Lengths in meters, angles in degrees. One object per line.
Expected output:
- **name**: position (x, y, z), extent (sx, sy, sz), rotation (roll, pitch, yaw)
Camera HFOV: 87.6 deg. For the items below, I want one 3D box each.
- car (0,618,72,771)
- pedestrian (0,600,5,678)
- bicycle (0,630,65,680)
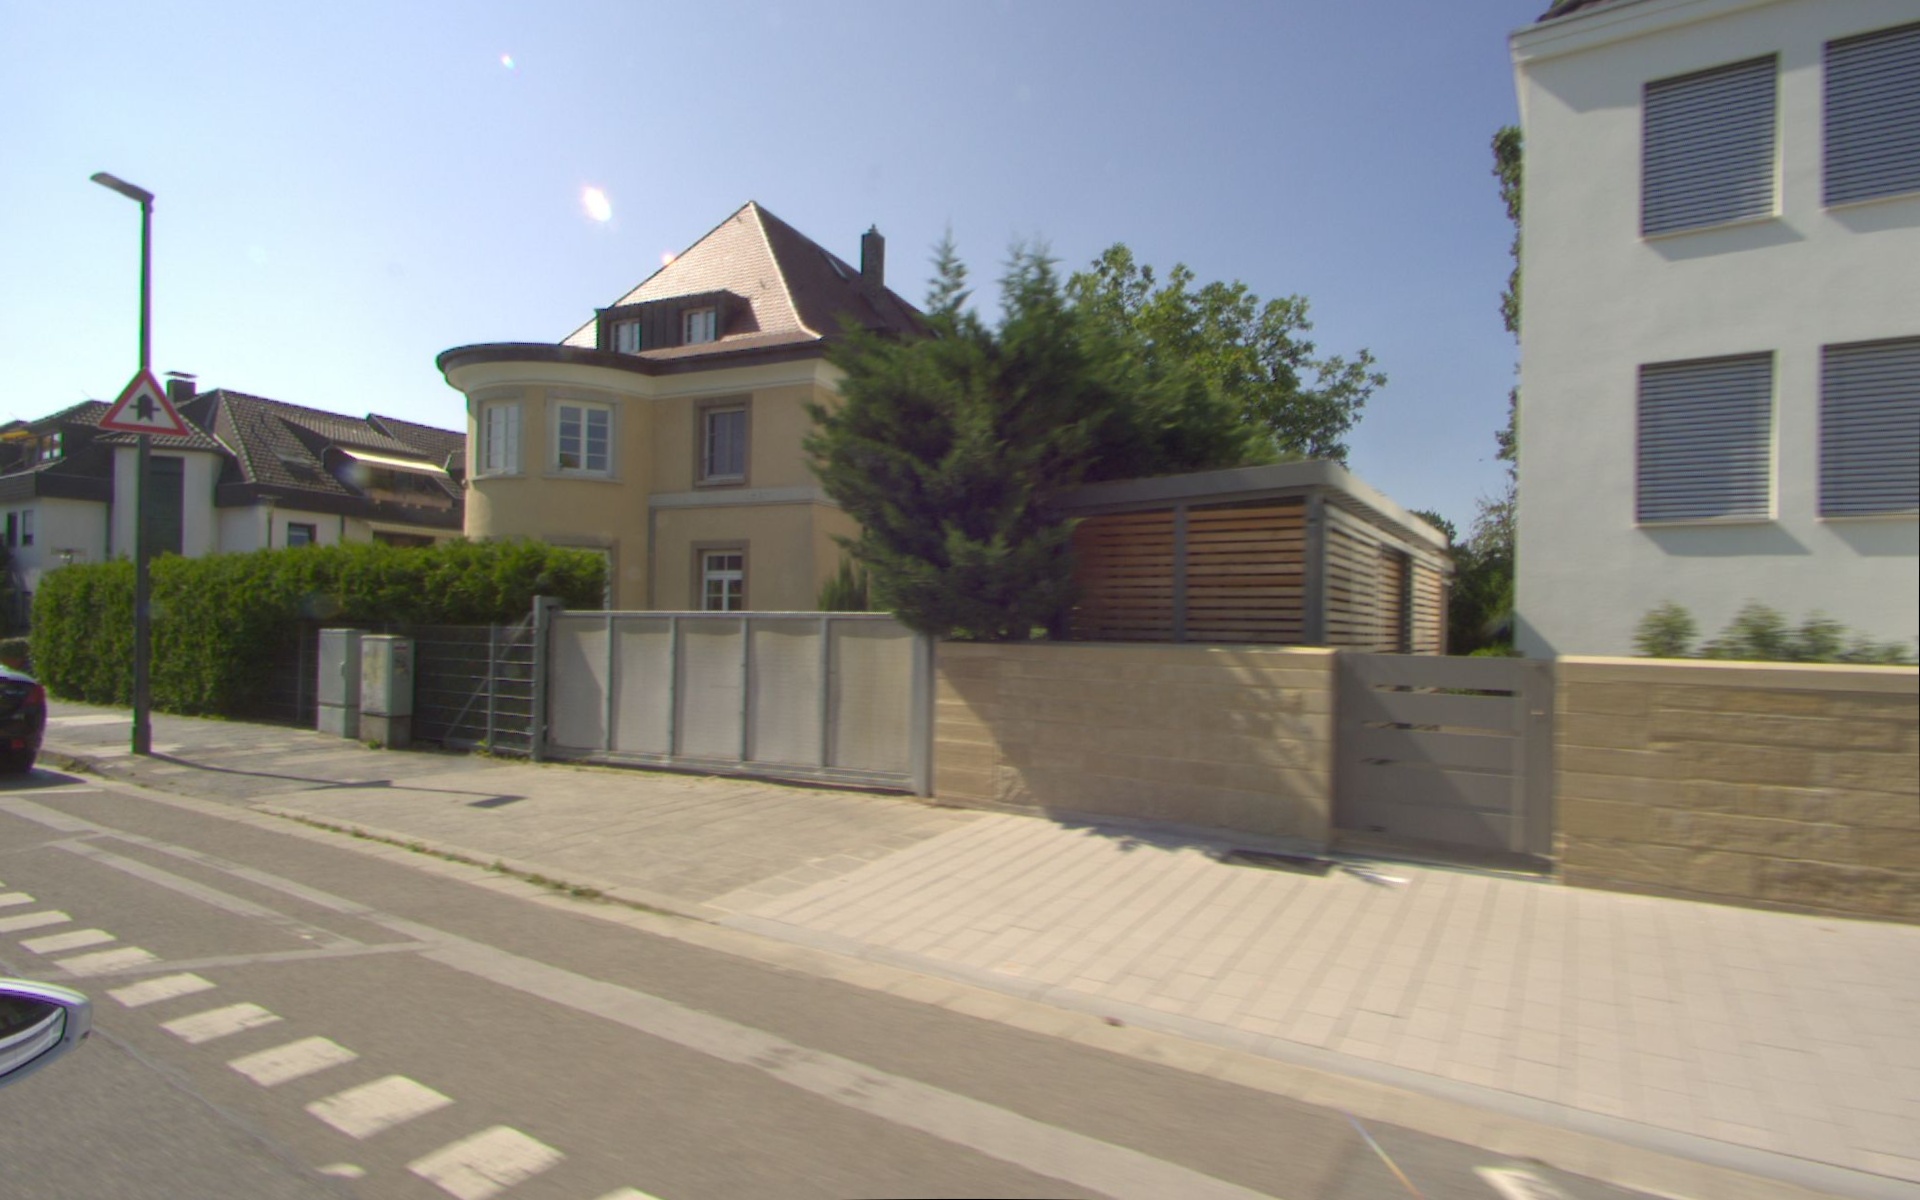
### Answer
- **car**: position (-11.314, 0.911, 10.557), extent (4.283, 1.486, 1.735), rotation (-1, -4, 32)
- **pedestrian**: position (-23.900, 0.921, 23.981), extent (1.166, 1.896, 0.902), rotation (0, -1, 0)
- **bicycle**: position (-23.191, 1.294, 23.825), extent (2.669, 1.173, 0.861), rotation (2, -2, -25)
